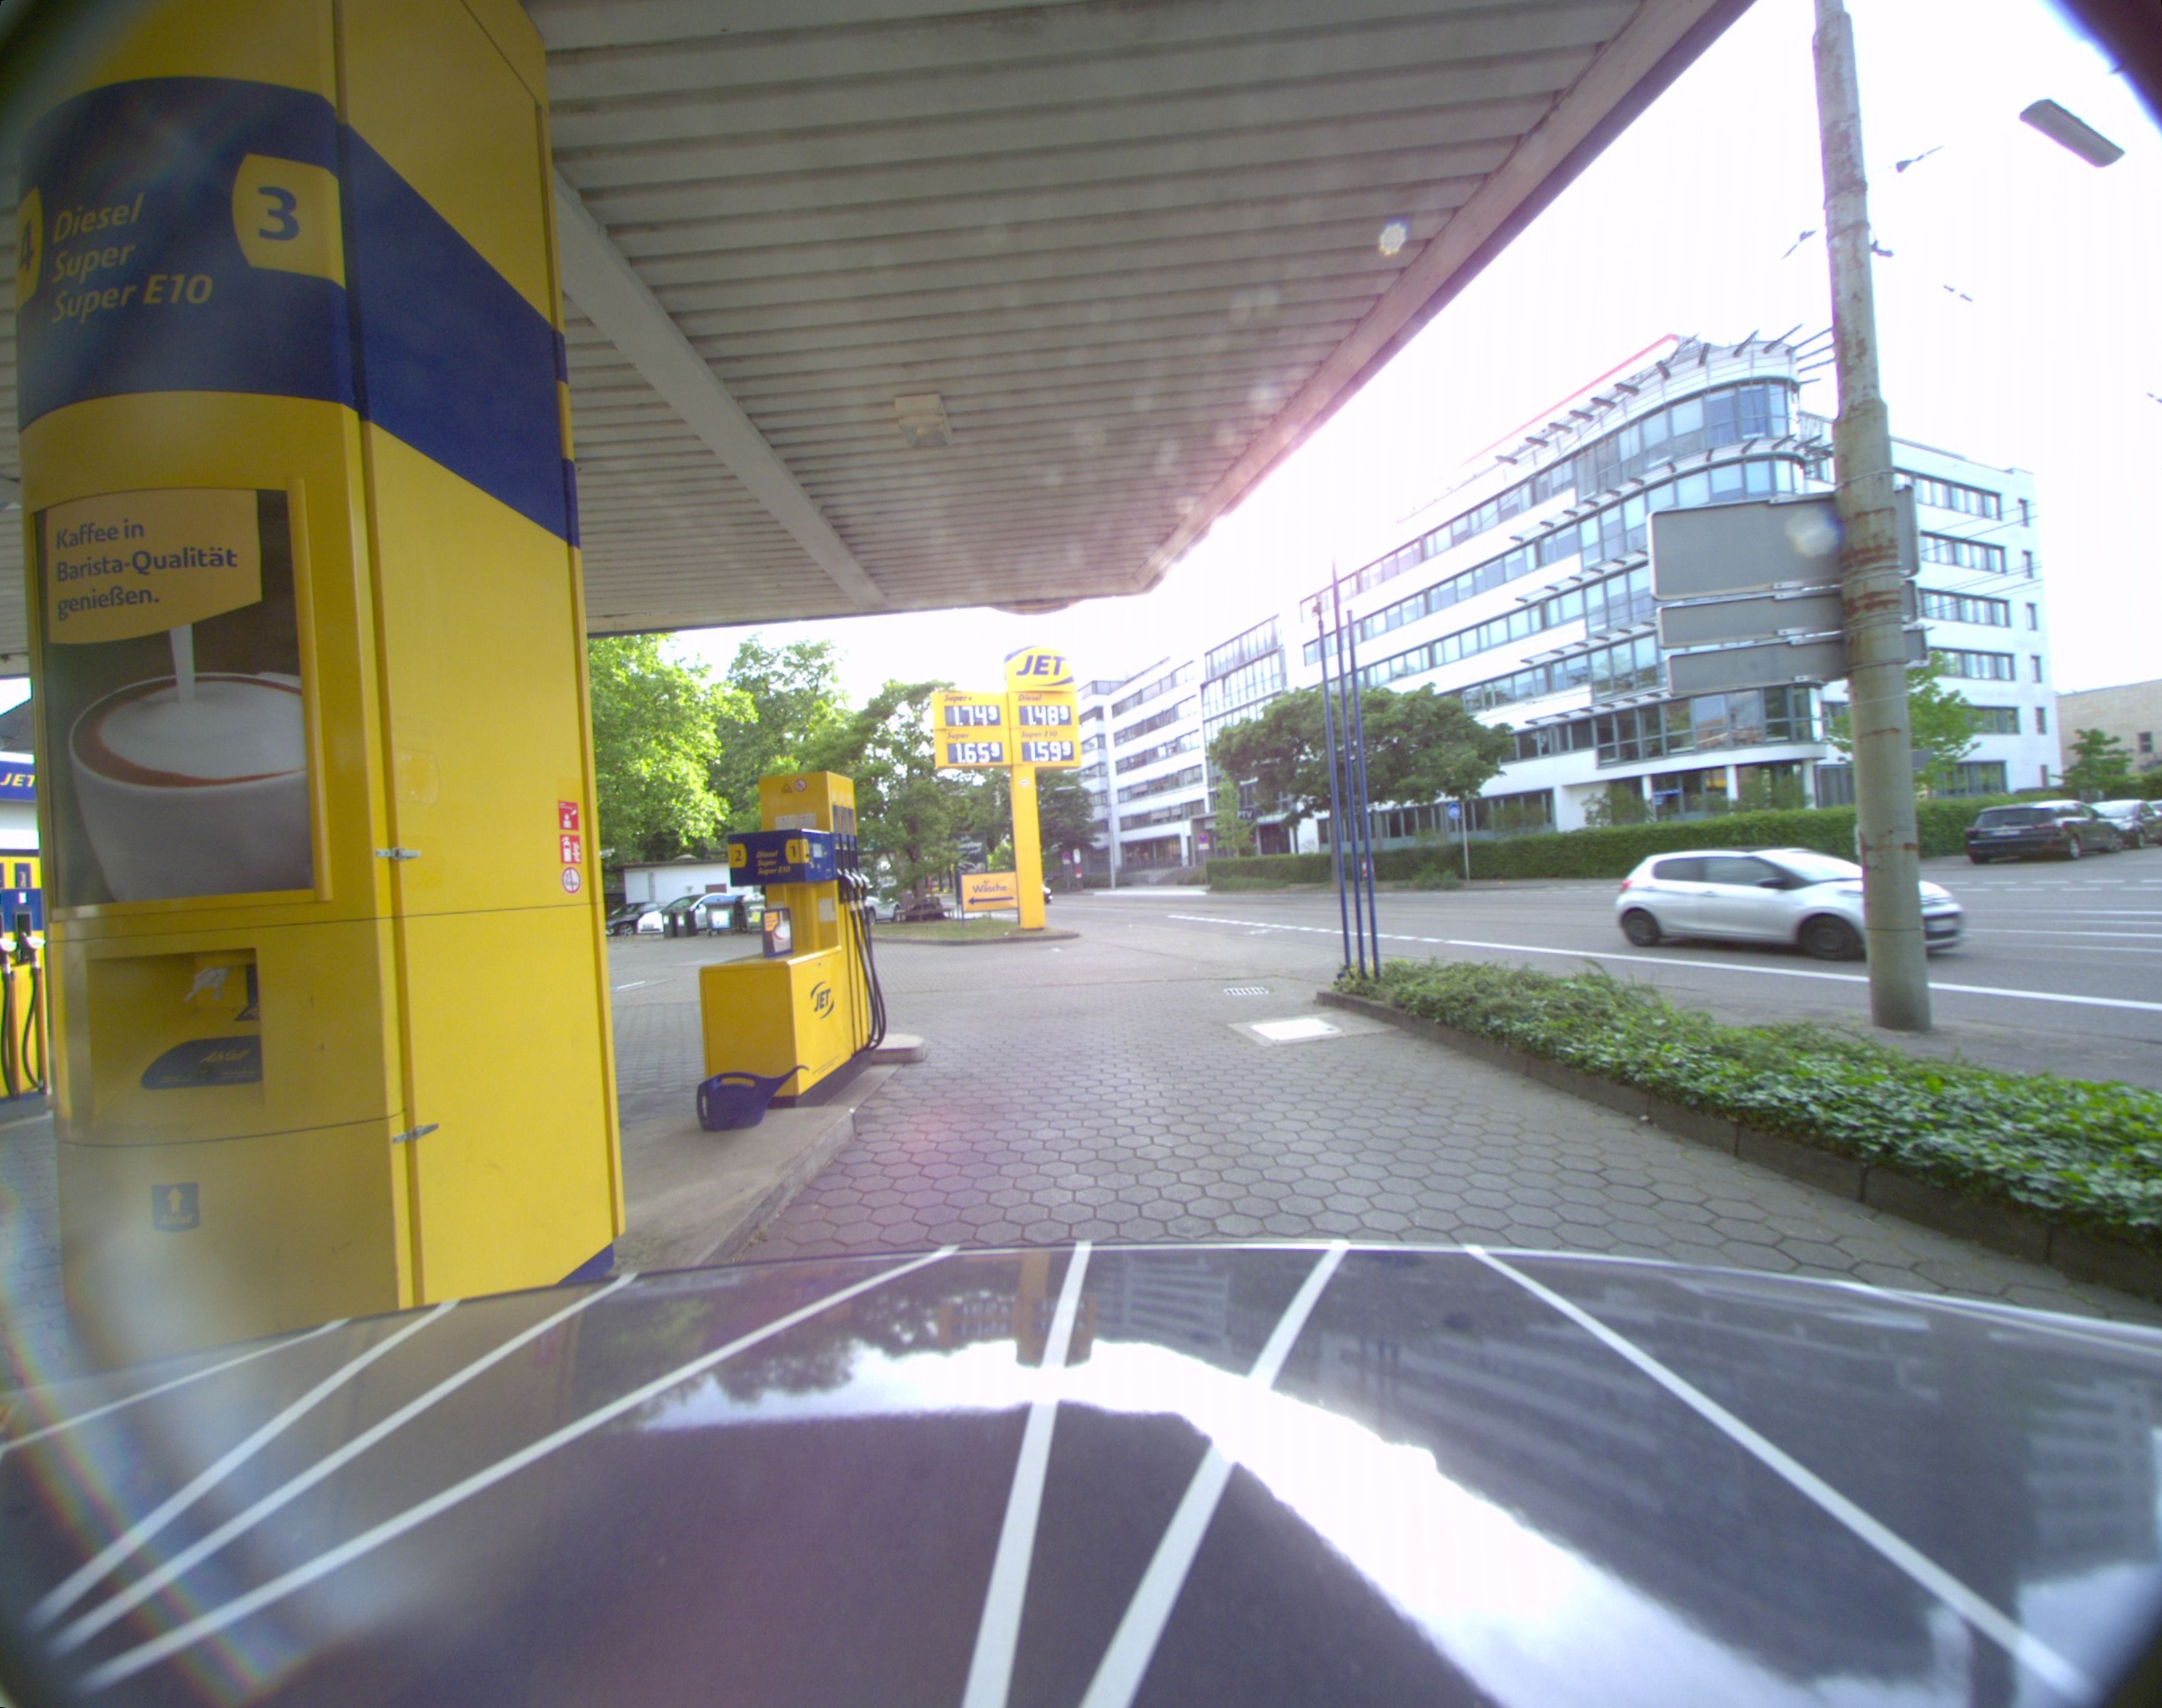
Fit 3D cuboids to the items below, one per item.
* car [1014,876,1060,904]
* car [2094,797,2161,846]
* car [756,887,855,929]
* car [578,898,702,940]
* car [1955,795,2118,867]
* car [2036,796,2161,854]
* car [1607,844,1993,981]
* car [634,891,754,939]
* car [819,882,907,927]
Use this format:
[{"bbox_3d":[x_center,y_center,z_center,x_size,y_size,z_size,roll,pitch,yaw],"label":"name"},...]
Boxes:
[{"bbox_3d":[-2.642,2.110,44.920,1.691,1.463,3.807,-4,-1,-19],"label":"car"},{"bbox_3d":[37.129,-1.188,26.143,4.296,1.509,1.945,-4,-1,-27],"label":"car"},{"bbox_3d":[-11.655,2.268,32.486,1.771,1.591,4.400,-4,-4,13],"label":"car"},{"bbox_3d":[-17.794,2.590,30.901,1.771,1.367,4.398,-2,-1,14],"label":"car"},{"bbox_3d":[27.275,-0.658,21.688,4.296,1.681,2.010,-4,-1,-27],"label":"car"},{"bbox_3d":[32.546,-0.933,24.090,4.296,1.530,1.945,-4,-1,-27],"label":"car"},{"bbox_3d":[9.646,0.727,10.553,1.691,1.424,3.423,-5,0,-18],"label":"car"},{"bbox_3d":[-15.292,2.365,30.307,1.771,1.591,4.398,-2,-1,14],"label":"car"},{"bbox_3d":[-8.636,2.003,30.496,1.772,1.591,4.398,-4,-4,6],"label":"car"}]
